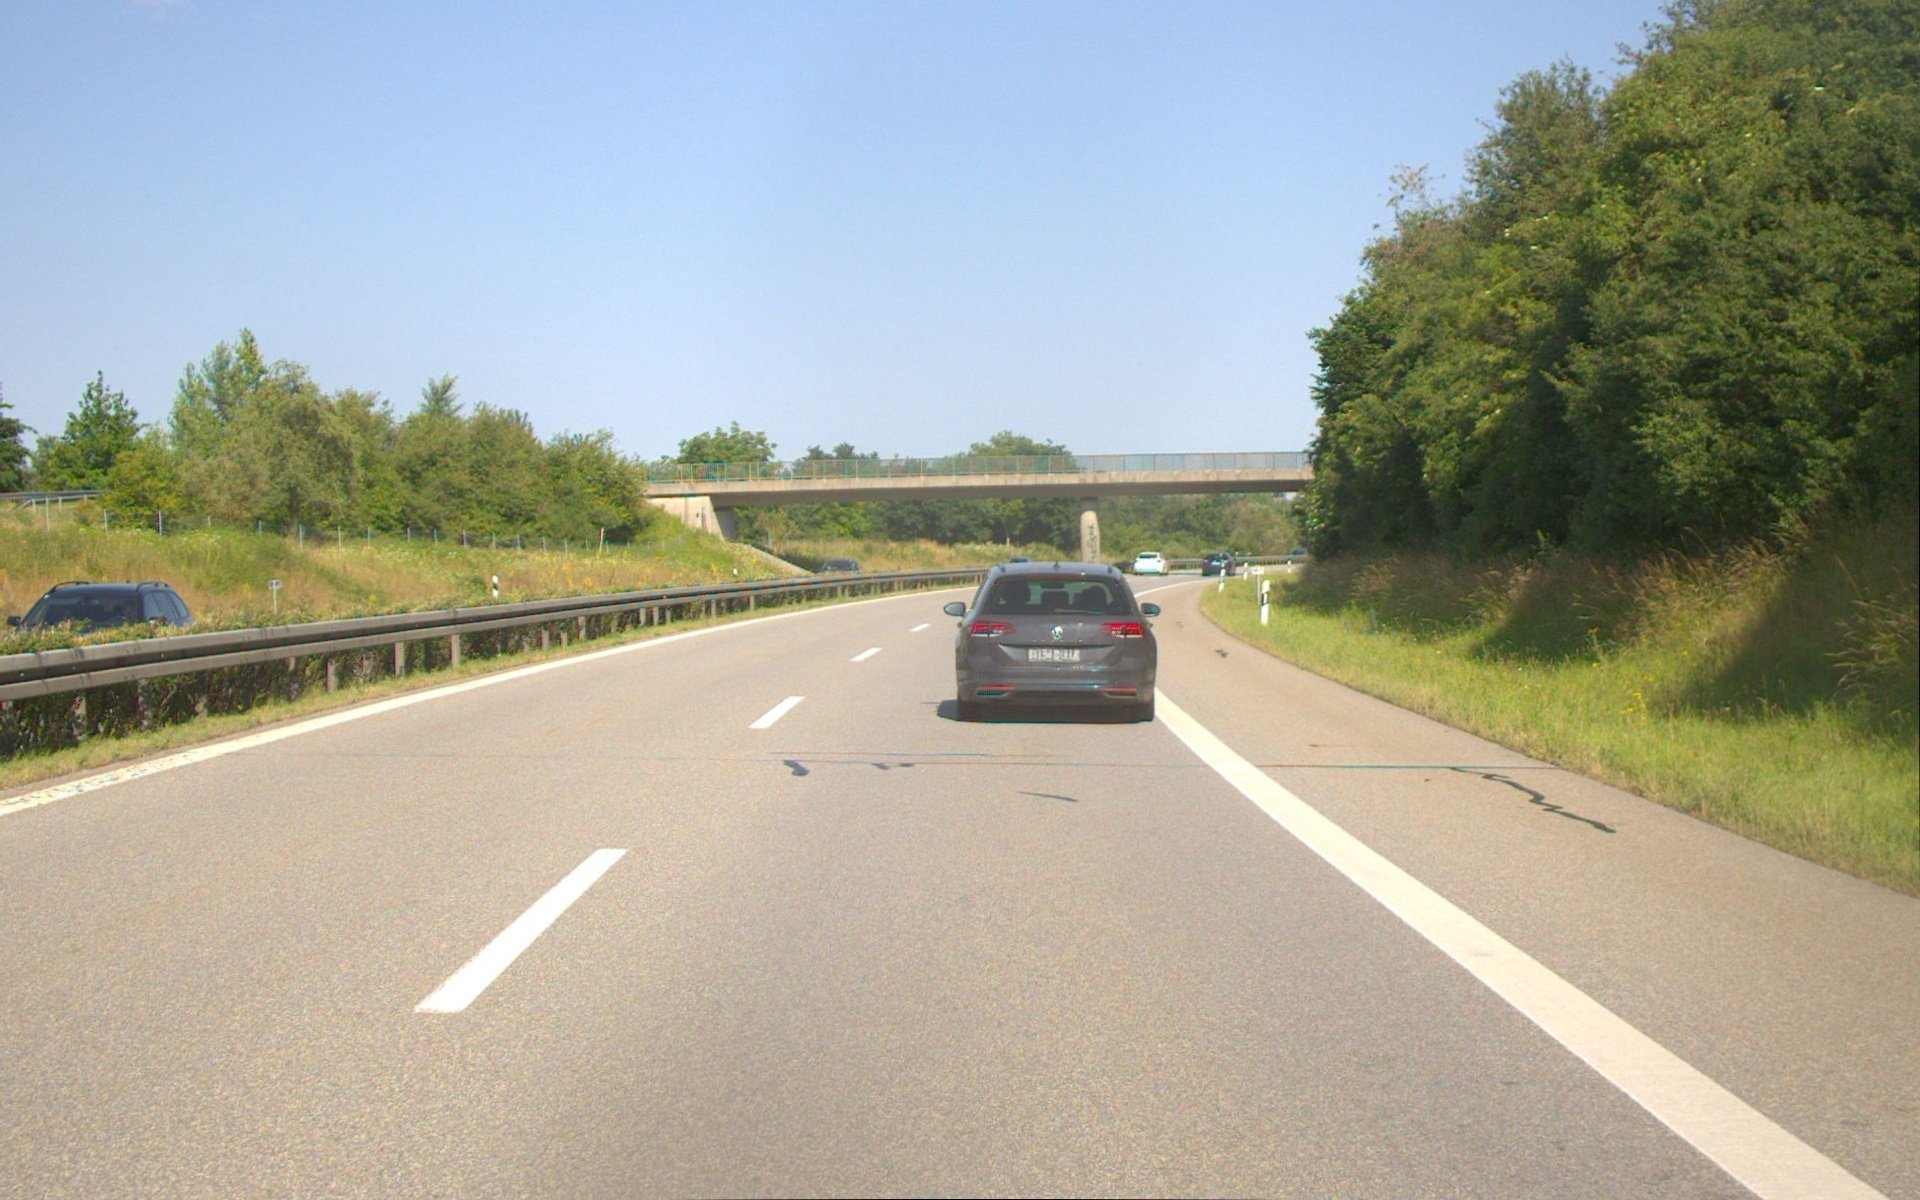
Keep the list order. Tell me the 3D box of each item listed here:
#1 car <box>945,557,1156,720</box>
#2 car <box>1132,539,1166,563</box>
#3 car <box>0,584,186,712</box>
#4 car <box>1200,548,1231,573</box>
[{"bbox_3d":[0.850,0.304,31.608,1.791,1.340,4.000,1,1,2],"label":"car"},{"bbox_3d":[11.439,-2.974,208.080,2.007,1.340,3.999,1,-1,3],"label":"car"},{"bbox_3d":[-11.204,0.571,43.771,1.831,1.503,4.543,1,1,-3],"label":"car"},{"bbox_3d":[15.653,-2.419,210.803,1.710,1.382,3.355,1,-1,1],"label":"car"}]
